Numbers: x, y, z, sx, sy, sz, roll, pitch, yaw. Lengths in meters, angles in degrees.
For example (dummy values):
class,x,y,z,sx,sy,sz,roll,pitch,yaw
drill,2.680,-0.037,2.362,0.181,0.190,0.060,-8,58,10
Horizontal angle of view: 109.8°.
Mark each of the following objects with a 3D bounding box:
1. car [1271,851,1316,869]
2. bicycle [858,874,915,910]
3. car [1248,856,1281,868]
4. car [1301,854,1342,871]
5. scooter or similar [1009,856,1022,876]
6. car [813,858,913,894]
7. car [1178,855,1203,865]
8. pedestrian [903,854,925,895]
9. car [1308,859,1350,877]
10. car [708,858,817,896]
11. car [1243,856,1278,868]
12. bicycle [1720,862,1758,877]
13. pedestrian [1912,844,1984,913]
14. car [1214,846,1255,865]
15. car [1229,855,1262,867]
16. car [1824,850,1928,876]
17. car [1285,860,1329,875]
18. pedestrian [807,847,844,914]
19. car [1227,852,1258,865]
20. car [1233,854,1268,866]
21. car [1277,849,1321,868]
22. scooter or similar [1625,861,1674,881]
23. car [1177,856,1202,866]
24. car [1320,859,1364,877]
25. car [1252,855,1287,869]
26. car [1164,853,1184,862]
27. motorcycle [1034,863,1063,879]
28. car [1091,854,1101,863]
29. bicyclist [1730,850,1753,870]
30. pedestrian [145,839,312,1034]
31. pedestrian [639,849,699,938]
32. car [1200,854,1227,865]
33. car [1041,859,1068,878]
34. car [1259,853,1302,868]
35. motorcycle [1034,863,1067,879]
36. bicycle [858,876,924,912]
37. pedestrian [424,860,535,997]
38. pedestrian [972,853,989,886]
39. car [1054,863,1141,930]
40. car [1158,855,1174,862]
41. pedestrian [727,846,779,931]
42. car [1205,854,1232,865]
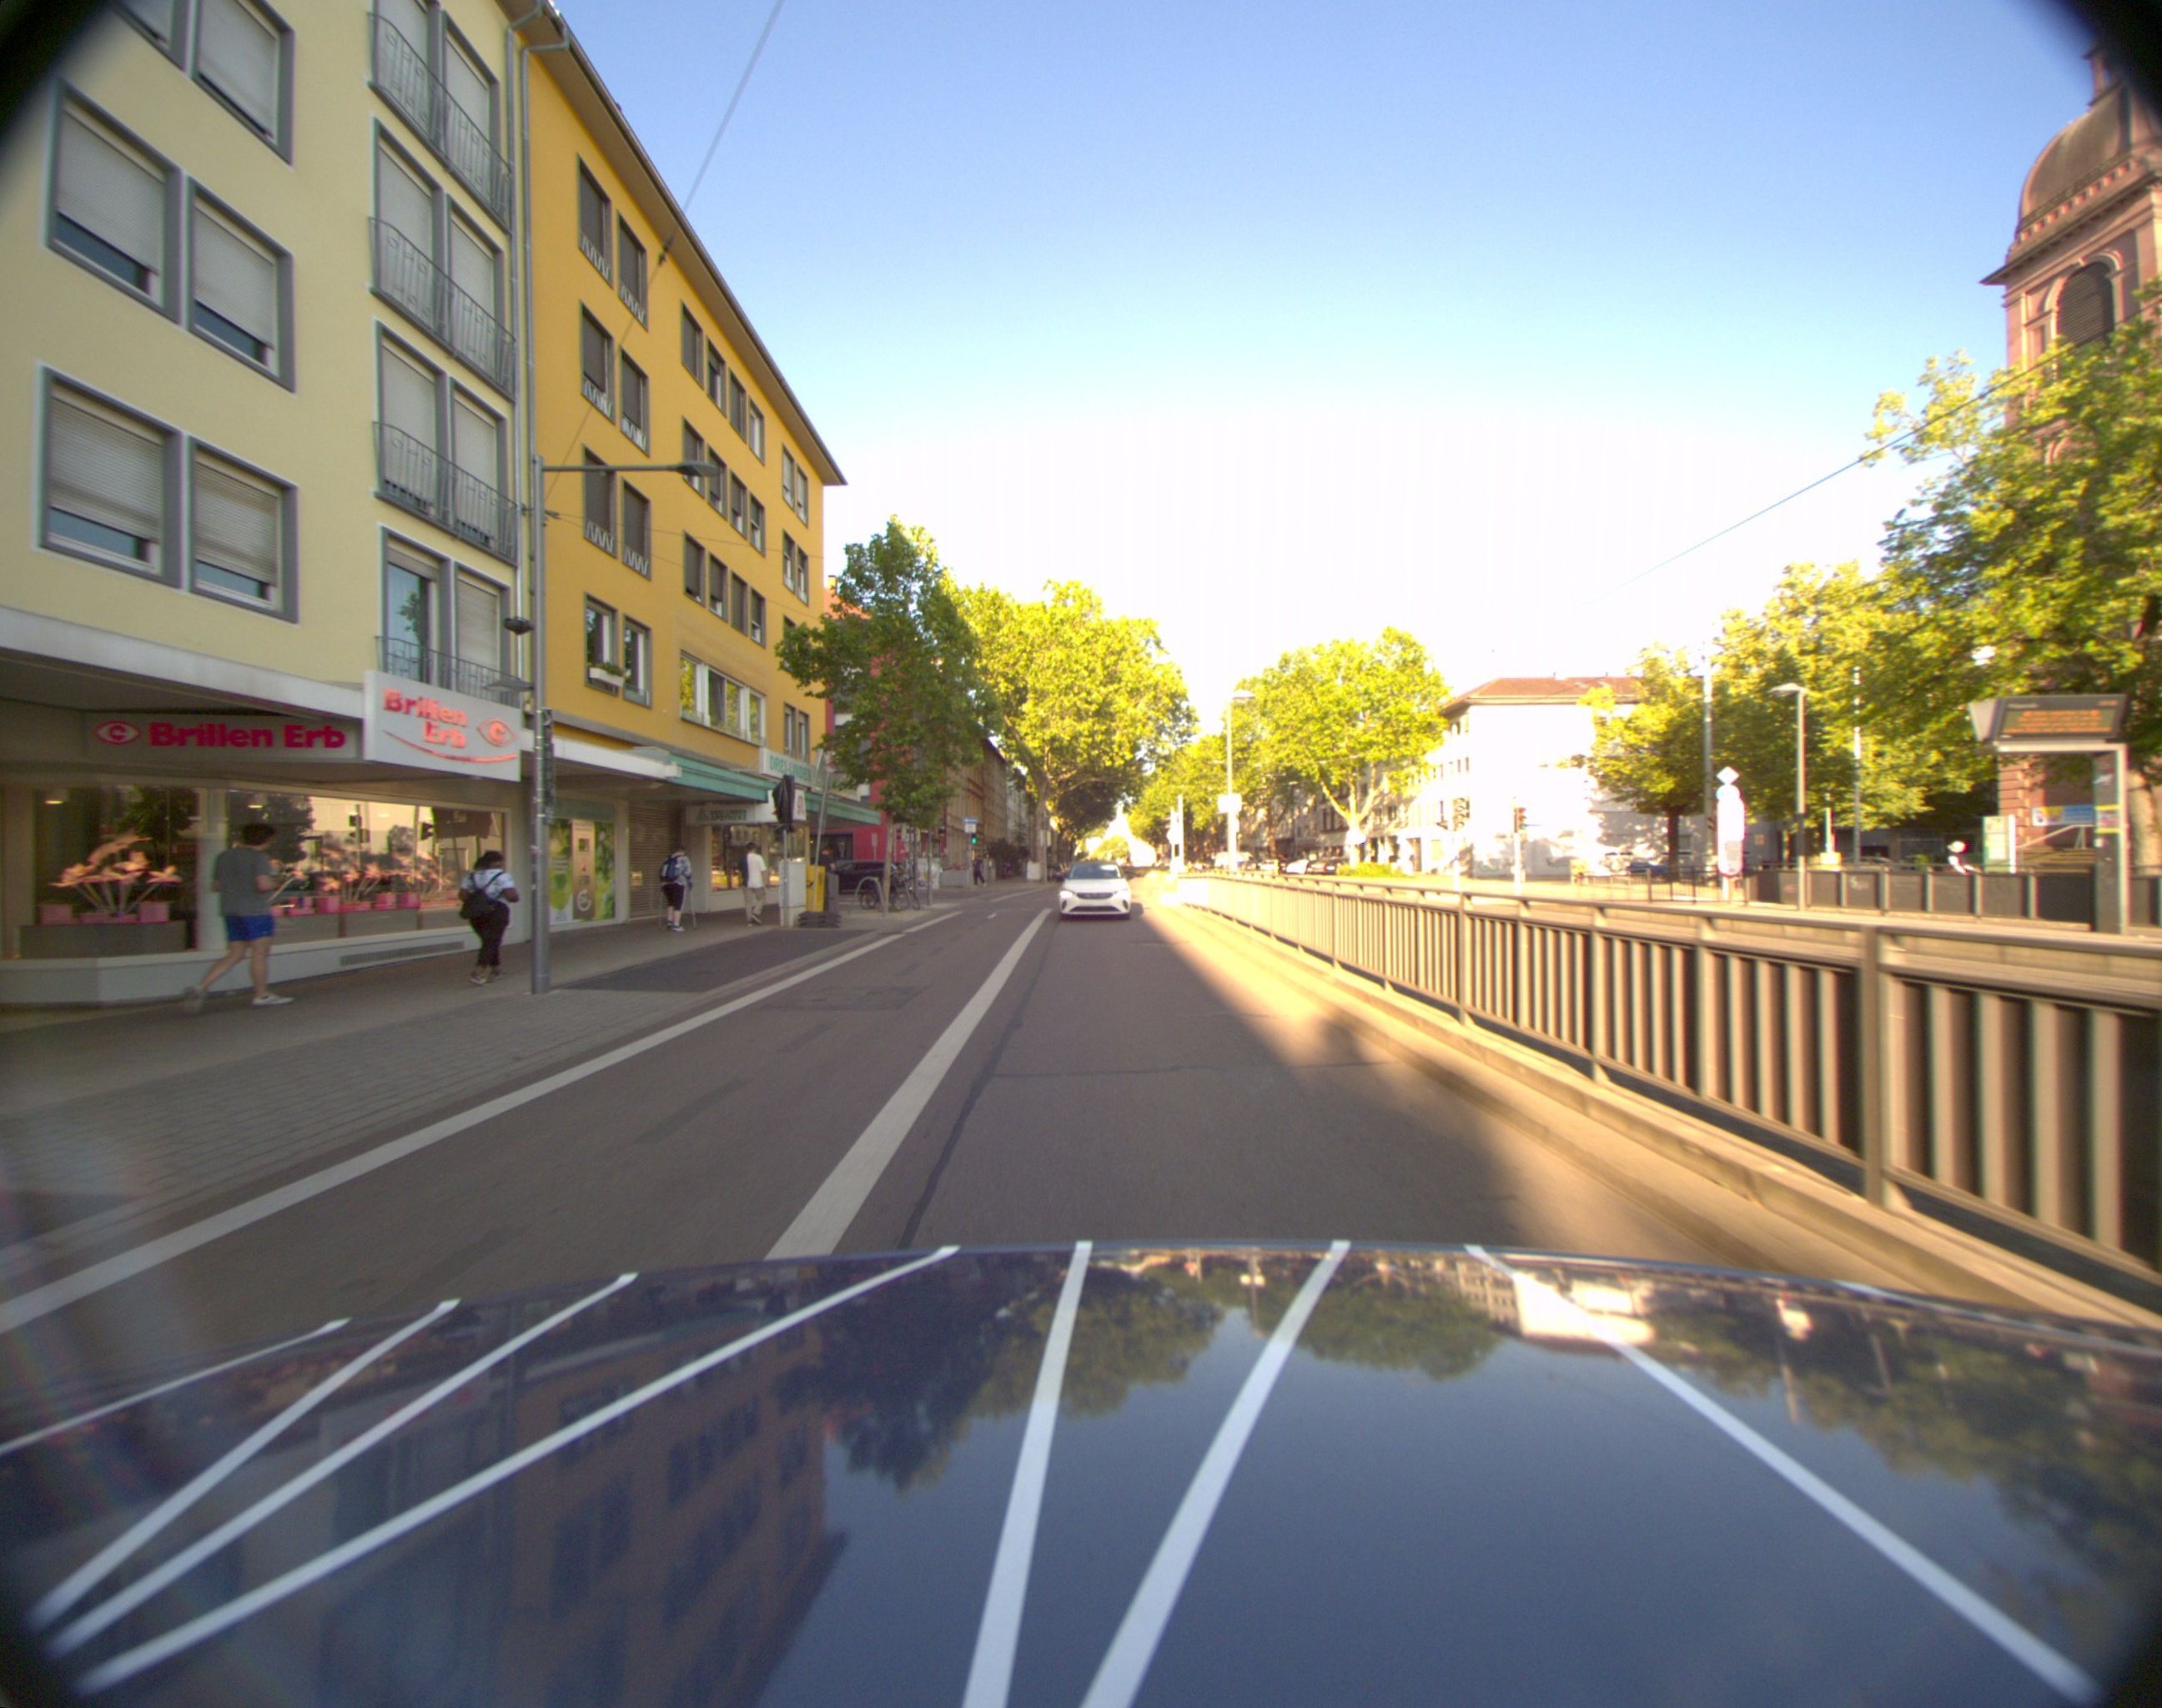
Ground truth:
class,x,y,z,sx,sy,sz,roll,pitch,yaw
car,21.552,0.603,76.954,4.265,1.674,2.148,-1,0,-34
bicycle,-5.548,1.080,21.706,1.487,1.002,0.454,1,0,-2
car,22.461,1.006,92.909,4.265,1.451,1.598,0,0,-35
car,22.526,0.783,71.151,3.979,1.495,1.827,-1,0,-42
scooter or similar,-5.014,0.916,58.018,0.666,1.461,2.545,-1,0,1
car,-10.624,1.064,37.260,4.352,1.676,1.772,-1,0,0
car,20.037,1.143,139.341,4.234,1.696,1.999,-1,0,-3
pedestrian,-7.545,0.921,34.453,0.745,1.770,0.894,-1,2,1
car,22.260,1.240,68.070,3.979,1.423,1.738,-1,-1,-42
car,-15.627,1.113,37.459,4.613,1.730,1.772,-1,0,0
car,22.727,1.033,96.185,4.265,1.449,1.902,0,0,-35
bicycle,44.266,1.036,51.100,1.987,0.974,0.633,-1,0,1
pedestrian,23.057,0.637,20.217,0.921,1.750,0.832,-2,1,2
car,22.828,0.256,112.816,5.619,2.684,2.176,-1,0,-24
car,22.363,0.973,103.511,4.005,1.608,1.996,0,0,-26
car,45.931,0.532,44.026,1.815,1.389,4.001,-1,-1,1
car,21.932,1.292,73.717,4.266,1.369,2.147,0,0,-40
pedestrian,-7.050,0.715,21.019,0.725,1.796,0.766,-1,1,0
car,23.332,0.601,109.995,4.005,1.805,1.996,0,0,-26
car,22.411,0.760,100.378,4.003,1.509,1.997,-1,0,-20
car,22.989,0.470,80.223,4.259,1.932,1.515,-1,0,-15
scooter or similar,33.221,0.972,44.443,1.096,1.119,2.448,0,0,1
car,19.321,1.299,135.805,4.005,1.696,1.996,-1,0,-26
car,22.175,1.142,64.524,3.979,1.423,1.767,-1,0,-42
car,22.230,0.944,89.655,4.266,1.604,1.902,0,0,-40
car,22.717,0.898,185.059,4.952,2.200,2.096,-1,0,-41
motorcycle,-2.220,1.156,51.617,1.895,1.104,0.783,2,-2,-42
car,3.437,1.029,171.564,1.998,2.002,4.000,-3,0,1
bicyclist,44.412,0.386,51.086,0.968,1.323,0.633,-1,0,1
pedestrian,-8.397,0.774,7.525,0.725,1.829,0.766,-1,1,0
pedestrian,-8.099,0.758,14.964,0.725,1.713,0.766,-1,1,0
car,22.422,0.905,128.257,4.005,1.805,1.996,-1,0,-26
car,-2.020,1.081,59.044,1.802,1.393,4.370,1,0,1
car,21.513,0.732,81.871,4.259,1.548,1.641,-1,0,-15
motorcycle,-2.166,1.197,53.749,2.216,1.104,0.663,1,-2,-26
bicycle,-5.543,1.168,22.248,1.803,1.002,0.541,1,0,-2
pedestrian,-7.283,0.872,9.236,0.612,1.569,0.851,-1,1,3
pedestrian,-5.291,0.789,40.095,0.728,1.701,0.816,1,1,1
car,0.367,0.959,18.792,1.865,1.394,3.932,-2,0,0
car,23.362,1.149,208.759,3.994,1.802,1.875,-1,0,10
pedestrian,-7.002,0.717,16.262,0.725,1.769,0.766,-1,1,0
car,22.572,0.884,124.983,4.005,1.805,1.996,-1,0,-26
